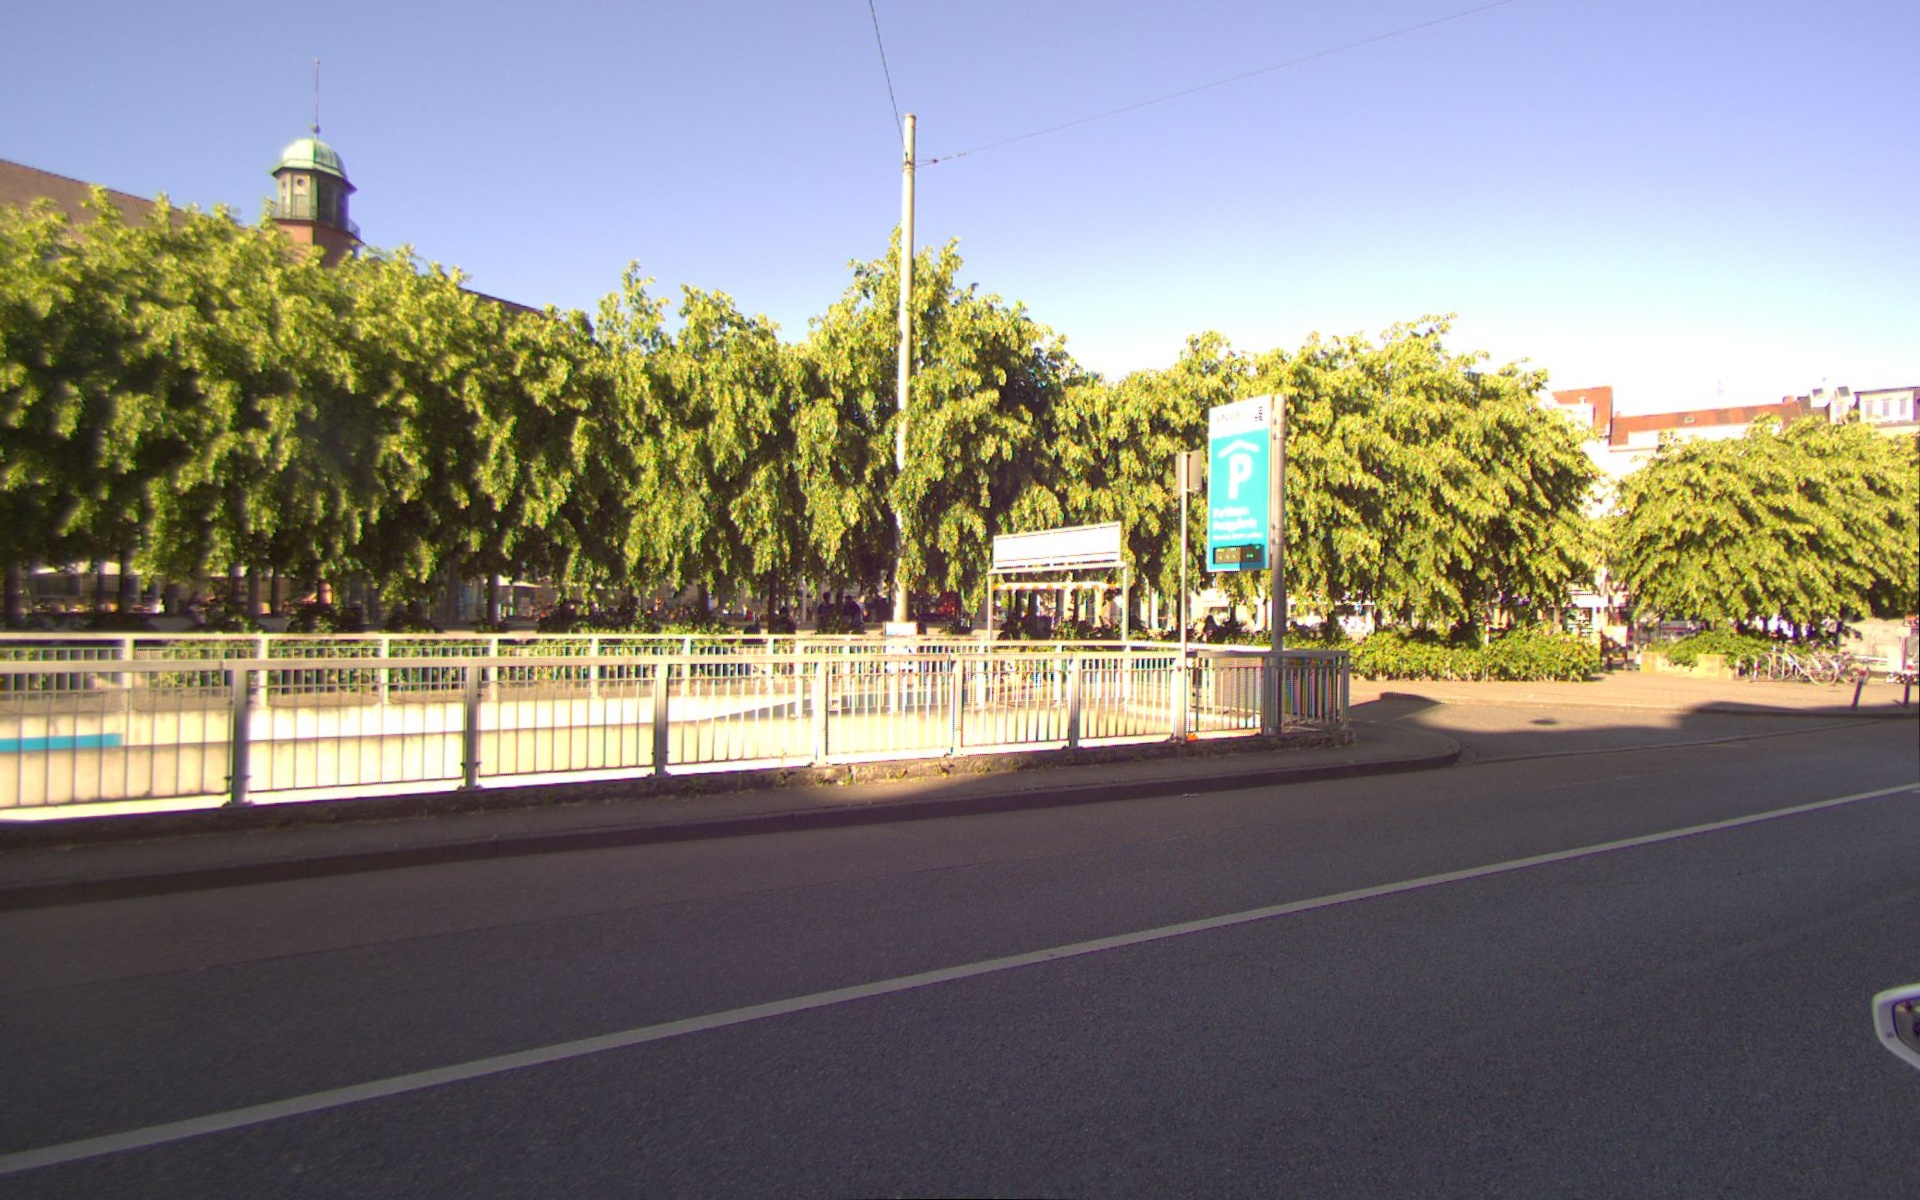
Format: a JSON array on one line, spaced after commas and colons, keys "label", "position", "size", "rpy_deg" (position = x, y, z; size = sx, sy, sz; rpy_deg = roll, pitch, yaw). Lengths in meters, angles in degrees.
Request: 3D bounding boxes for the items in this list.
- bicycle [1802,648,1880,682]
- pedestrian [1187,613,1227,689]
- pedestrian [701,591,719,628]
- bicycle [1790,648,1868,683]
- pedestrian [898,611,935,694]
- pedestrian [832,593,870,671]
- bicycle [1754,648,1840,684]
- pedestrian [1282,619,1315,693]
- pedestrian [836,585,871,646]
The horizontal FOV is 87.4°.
[{"label": "bicycle", "position": [23.088, 1.700, 26.353], "size": [0.468, 0.779, 1.468], "rpy_deg": [1, 0, -26]}, {"label": "pedestrian", "position": [6.229, 1.274, 25.351], "size": [0.722, 1.881, 0.578], "rpy_deg": [1, 0, -27]}, {"label": "pedestrian", "position": [-12.189, 0.460, 48.999], "size": [0.597, 1.816, 0.575], "rpy_deg": [1, 1, -43]}, {"label": "bicycle", "position": [22.584, 1.694, 26.122], "size": [0.435, 0.779, 1.469], "rpy_deg": [1, 0, -24]}, {"label": "pedestrian", "position": [-1.019, 1.219, 23.490], "size": [0.595, 1.881, 0.577], "rpy_deg": [1, 1, -33]}, {"label": "pedestrian", "position": [-2.658, 0.774, 24.521], "size": [0.672, 1.881, 0.576], "rpy_deg": [1, 1, -41]}, {"label": "bicycle", "position": [21.308, 1.667, 25.612], "size": [0.467, 0.779, 1.654], "rpy_deg": [1, 0, -20]}, {"label": "pedestrian", "position": [8.815, 1.434, 26.140], "size": [0.574, 1.881, 0.598], "rpy_deg": [2, 1, 41]}, {"label": "pedestrian", "position": [-3.210, 0.459, 30.137], "size": [0.918, 1.775, 0.729], "rpy_deg": [1, 0, -14]}]
